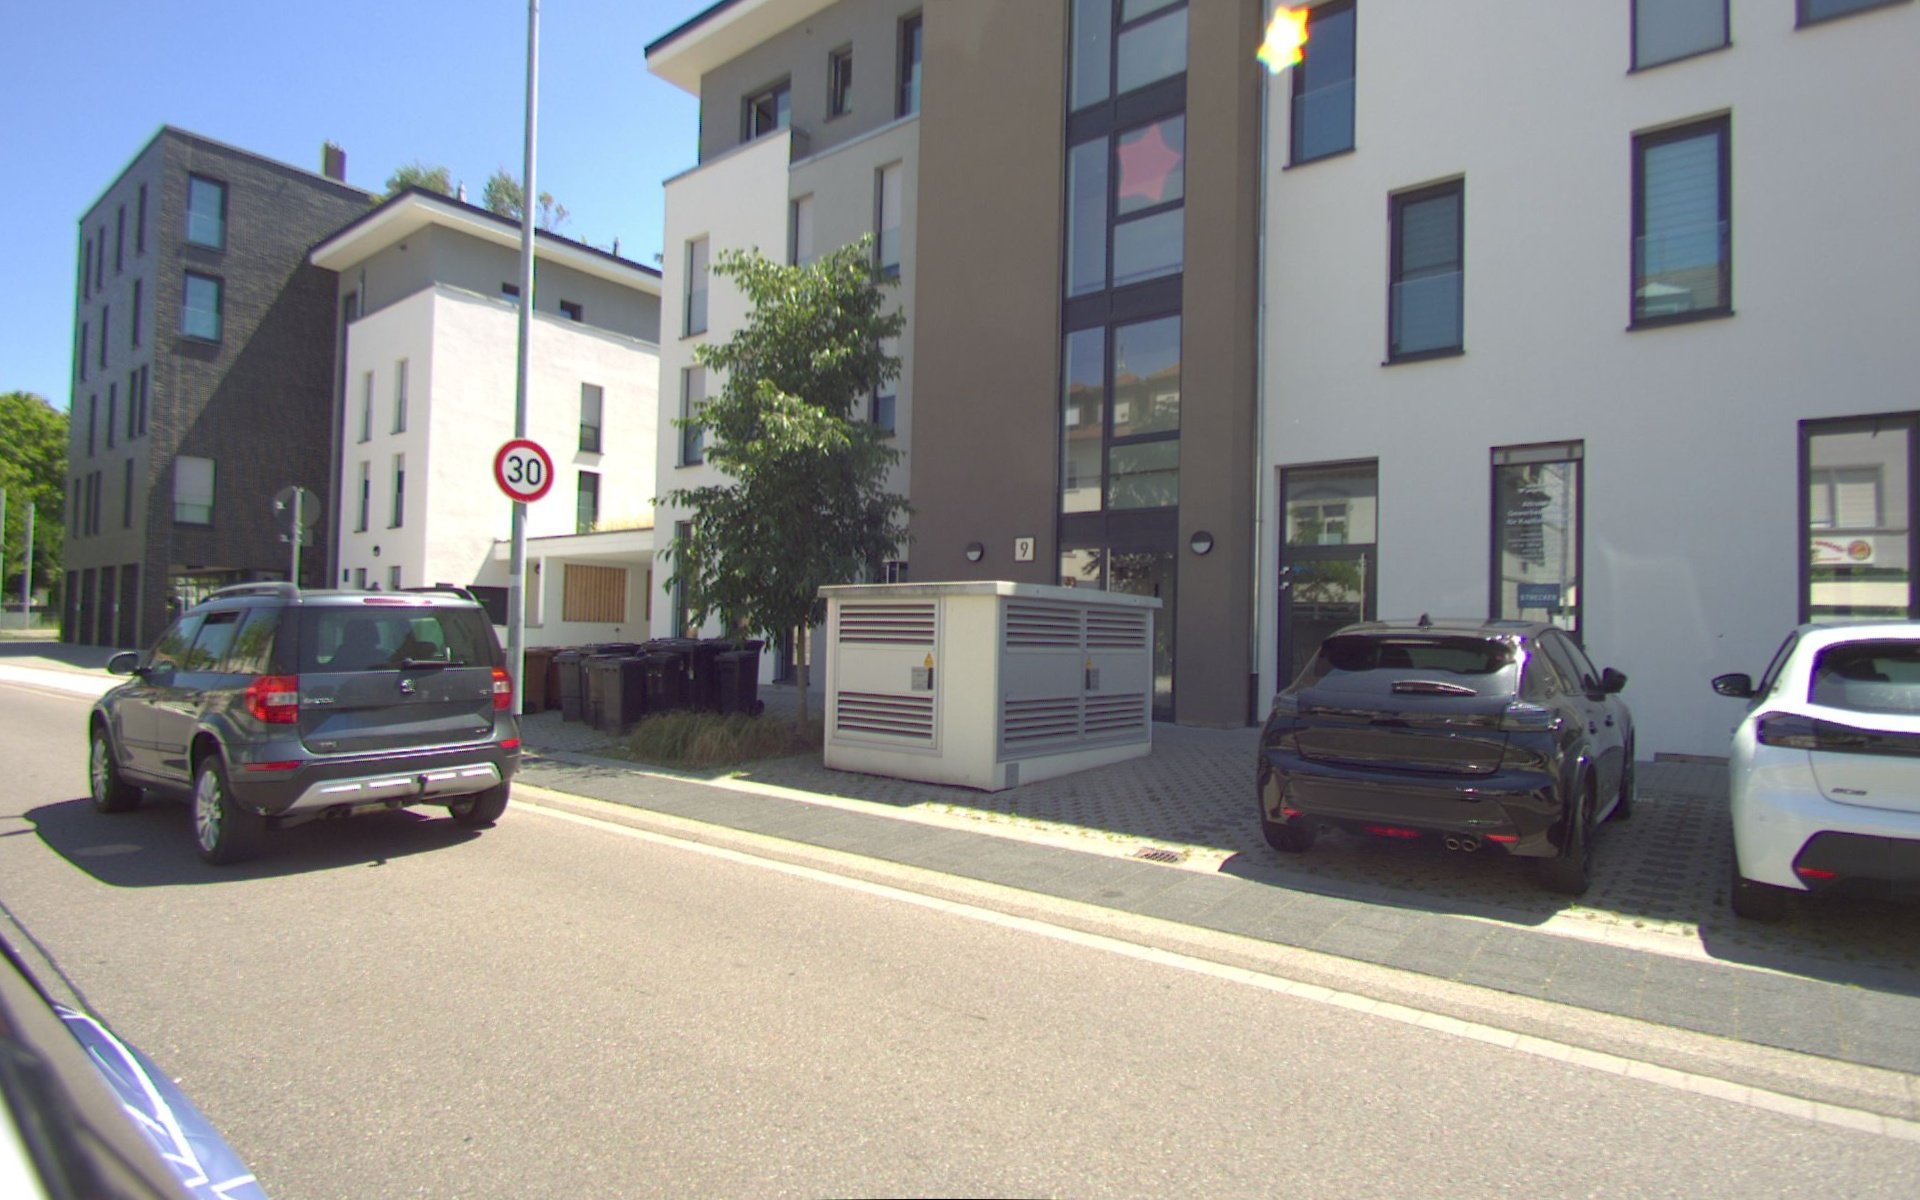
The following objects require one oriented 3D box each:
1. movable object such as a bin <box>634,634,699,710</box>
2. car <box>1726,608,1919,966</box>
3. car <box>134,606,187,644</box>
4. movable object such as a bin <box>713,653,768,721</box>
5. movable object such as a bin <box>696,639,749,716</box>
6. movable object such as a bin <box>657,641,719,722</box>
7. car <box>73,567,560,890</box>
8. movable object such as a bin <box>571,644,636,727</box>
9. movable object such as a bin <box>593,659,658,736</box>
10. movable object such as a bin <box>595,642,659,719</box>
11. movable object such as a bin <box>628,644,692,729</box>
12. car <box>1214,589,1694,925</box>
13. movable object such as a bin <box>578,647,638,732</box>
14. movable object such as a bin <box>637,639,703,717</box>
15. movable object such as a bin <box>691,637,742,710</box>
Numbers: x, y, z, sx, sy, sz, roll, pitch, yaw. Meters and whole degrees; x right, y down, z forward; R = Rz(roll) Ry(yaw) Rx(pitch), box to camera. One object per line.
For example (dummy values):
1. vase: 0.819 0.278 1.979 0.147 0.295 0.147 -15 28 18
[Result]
1. movable object such as a bin: -4.426 1.067 15.306 0.643 1.104 0.689 0 -2 22
2. car: 5.349 0.771 5.371 1.908 1.432 3.947 0 -1 39
3. car: -35.945 1.110 45.462 1.673 1.497 4.087 7 -5 -39
4. movable object such as a bin: -2.939 1.151 13.553 0.478 0.874 0.552 0 -2 22
5. movable object such as a bin: -3.327 1.077 14.210 0.478 1.047 0.552 0 -2 22
6. movable object such as a bin: -3.639 1.073 13.564 0.546 1.047 0.573 0 -2 22
7. car: -4.831 0.720 7.388 4.072 1.714 1.793 -1 -2 39
8. movable object such as a bin: -4.616 1.087 13.107 0.559 1.028 0.549 0 -2 34
9. movable object such as a bin: -3.991 1.151 12.093 0.478 0.874 0.552 0 -2 22
10. movable object such as a bin: -4.701 1.120 14.299 0.578 1.047 0.617 0 -2 22
11. movable object such as a bin: -3.855 1.093 13.016 0.541 1.047 0.552 0 -2 22
12. car: 3.511 0.754 6.783 1.998 1.527 3.946 -1 -2 40
13. movable object such as a bin: -4.358 1.095 12.543 0.427 1.005 0.548 -1 -2 40
14. movable object such as a bin: -4.056 1.069 14.178 0.600 1.047 0.673 0 -2 22
15. movable object such as a bin: -3.592 1.075 14.947 0.478 1.047 0.552 0 -2 22
